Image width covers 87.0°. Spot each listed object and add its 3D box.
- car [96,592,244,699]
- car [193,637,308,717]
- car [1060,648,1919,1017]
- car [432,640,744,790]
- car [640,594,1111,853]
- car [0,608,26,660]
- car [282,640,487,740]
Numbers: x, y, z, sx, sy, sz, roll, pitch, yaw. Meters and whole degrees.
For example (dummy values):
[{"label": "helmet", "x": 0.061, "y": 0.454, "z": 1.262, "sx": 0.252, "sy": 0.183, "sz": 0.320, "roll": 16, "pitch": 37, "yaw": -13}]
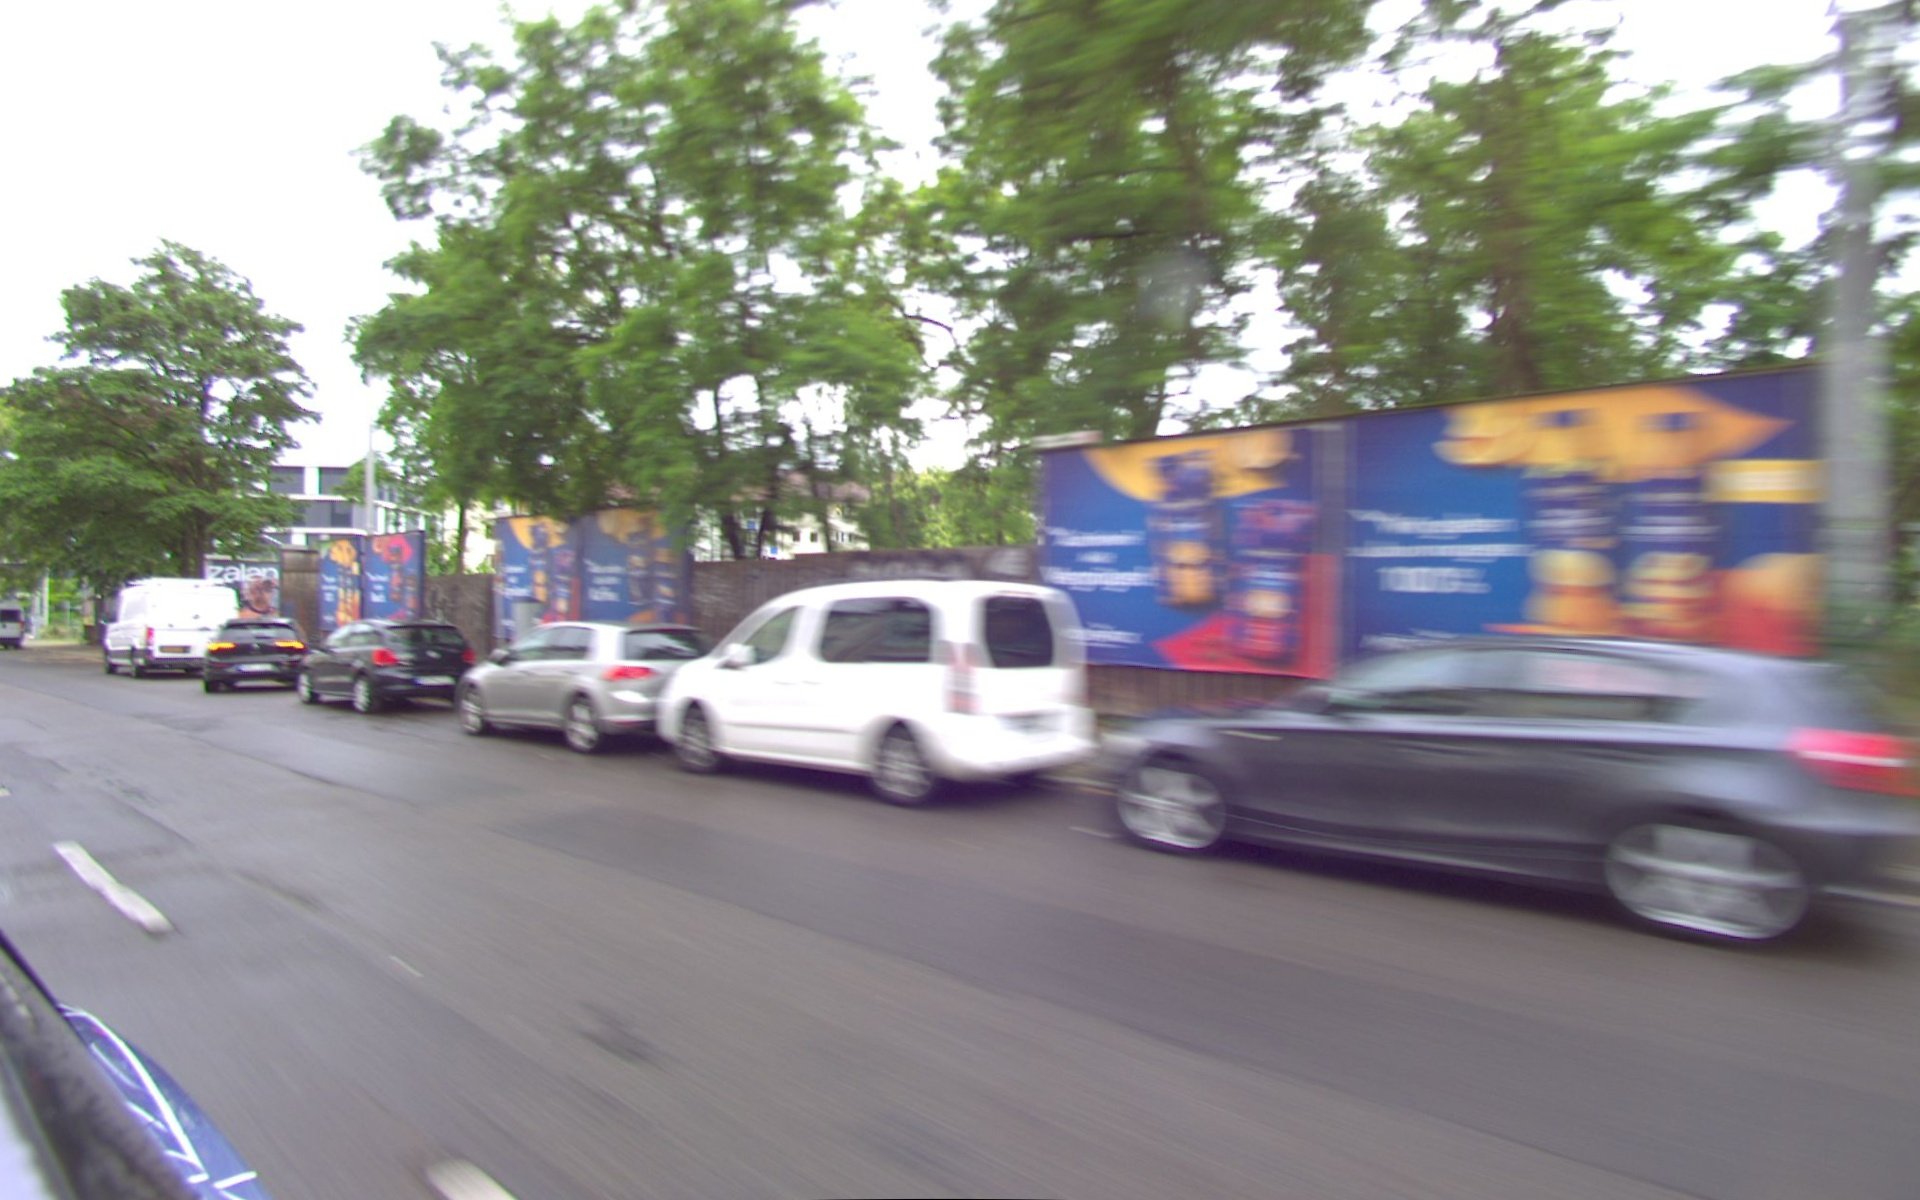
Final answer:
[{"label": "car", "x": -20.874, "y": 1.191, "z": 26.621, "sx": 5.981, "sy": 2.506, "sz": 1.990, "roll": -2, "pitch": -3, "yaw": 42}, {"label": "car", "x": -14.781, "y": 1.500, "z": 20.997, "sx": 1.781, "sy": 1.426, "sz": 4.393, "roll": 0, "pitch": -2, "yaw": -37}, {"label": "car", "x": 2.863, "y": 1.010, "z": 5.873, "sx": 4.338, "sy": 1.386, "sz": 1.707, "roll": -1, "pitch": -2, "yaw": 39}, {"label": "car", "x": -4.636, "y": 1.246, "z": 12.320, "sx": 4.273, "sy": 1.474, "sz": 1.665, "roll": -1, "pitch": -2, "yaw": 40}, {"label": "car", "x": -0.934, "y": 0.924, "z": 9.186, "sx": 4.341, "sy": 1.814, "sz": 1.706, "roll": -1, "pitch": -2, "yaw": 40}, {"label": "car", "x": -50.357, "y": 1.800, "z": 52.279, "sx": 6.532, "sy": 2.599, "sz": 2.207, "roll": -2, "pitch": -4, "yaw": 40}, {"label": "car", "x": -9.498, "y": 1.380, "z": 16.604, "sx": 3.907, "sy": 1.409, "sz": 1.665, "roll": -1, "pitch": -2, "yaw": 40}]
